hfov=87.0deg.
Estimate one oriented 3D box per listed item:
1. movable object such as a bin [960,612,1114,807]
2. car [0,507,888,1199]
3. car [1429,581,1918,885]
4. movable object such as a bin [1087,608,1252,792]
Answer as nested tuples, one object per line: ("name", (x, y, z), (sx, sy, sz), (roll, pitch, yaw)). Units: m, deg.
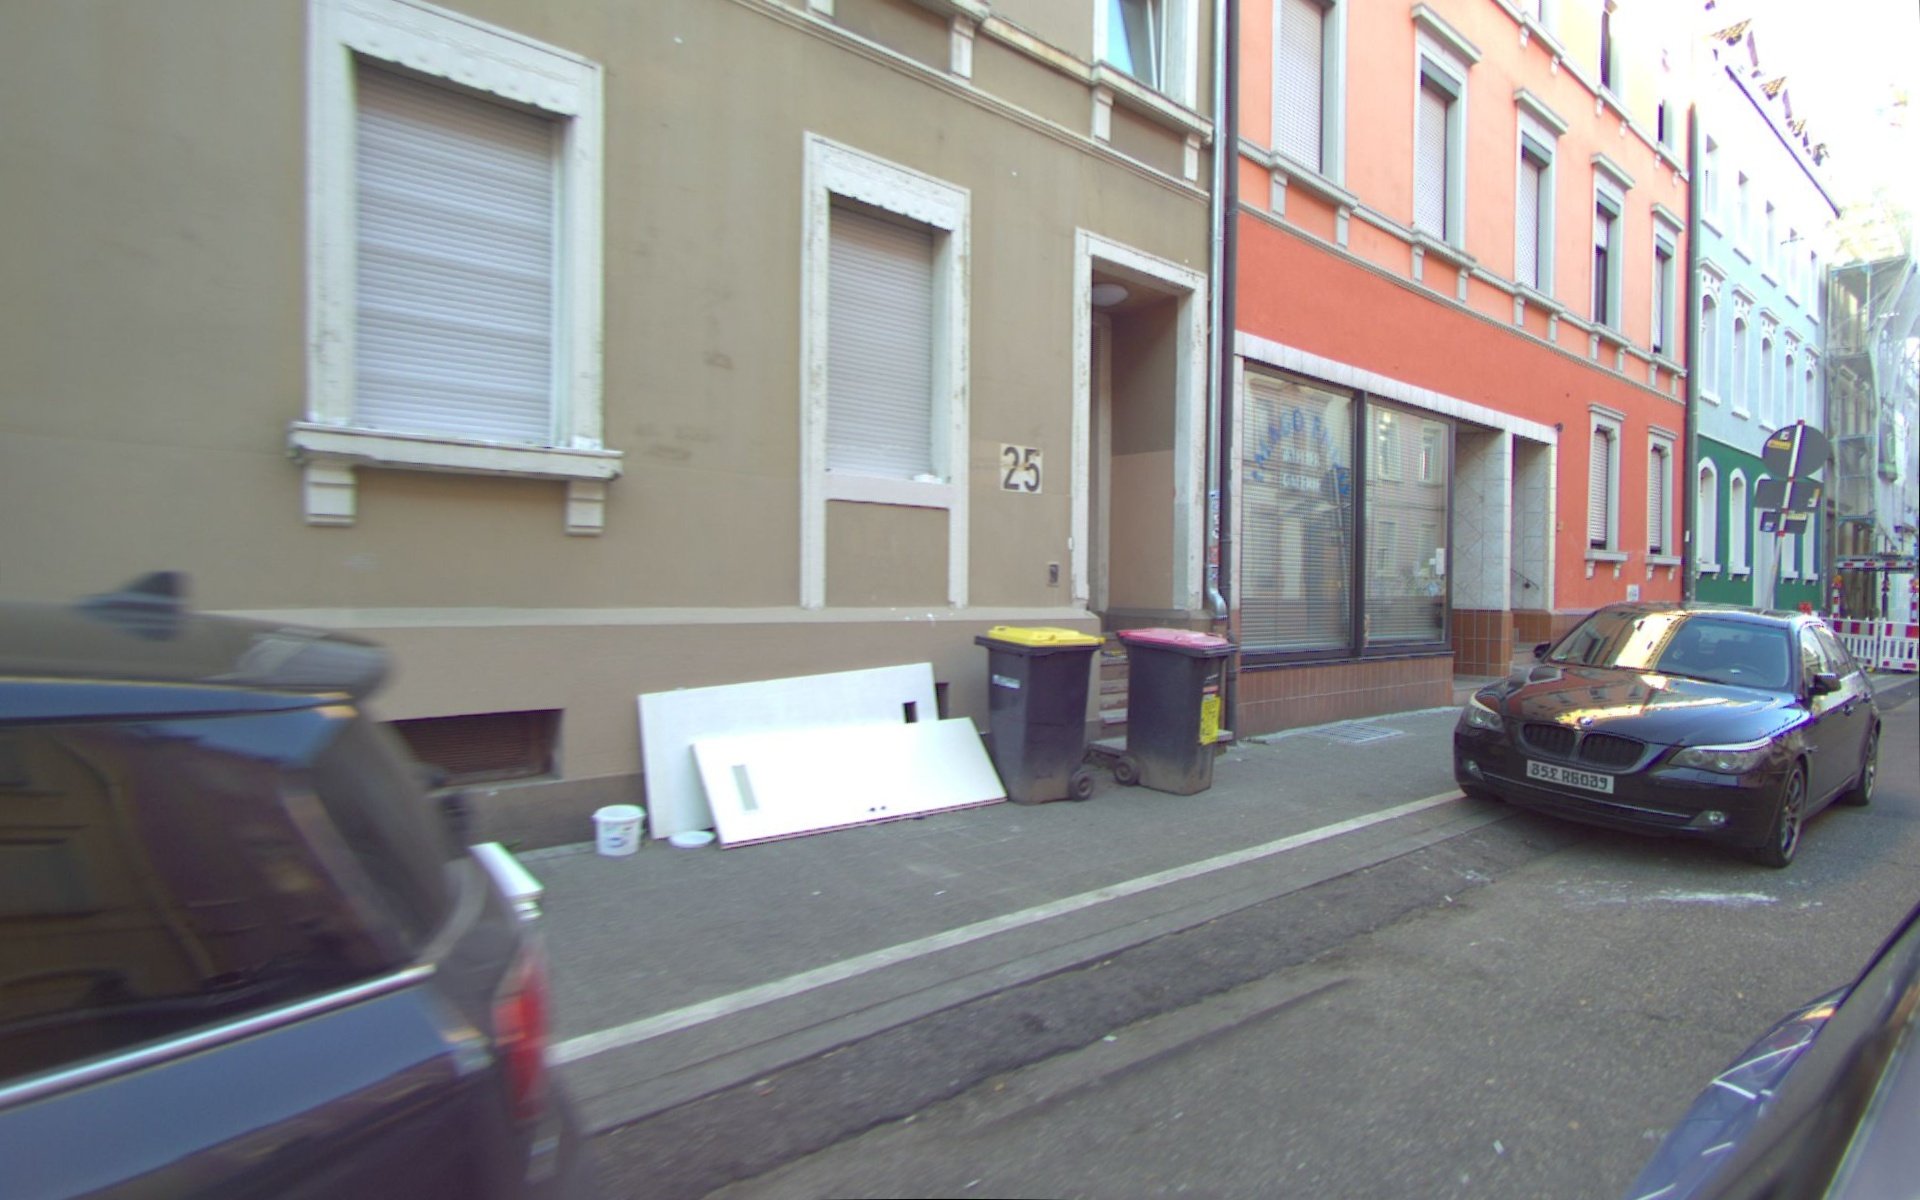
("movable object such as a bin", (0.490, 0.665, 6.537), (0.630, 1.122, 0.717), (1, 2, -40))
("car", (-2.296, 0.692, 0.667), (4.303, 1.541, 1.765), (0, 1, -41))
("car", (5.294, 0.653, 7.265), (4.386, 1.501, 1.830), (0, 2, -41))
("movable object such as a bin", (1.454, 0.652, 7.057), (0.889, 1.122, 0.633), (4, 2, 40))
